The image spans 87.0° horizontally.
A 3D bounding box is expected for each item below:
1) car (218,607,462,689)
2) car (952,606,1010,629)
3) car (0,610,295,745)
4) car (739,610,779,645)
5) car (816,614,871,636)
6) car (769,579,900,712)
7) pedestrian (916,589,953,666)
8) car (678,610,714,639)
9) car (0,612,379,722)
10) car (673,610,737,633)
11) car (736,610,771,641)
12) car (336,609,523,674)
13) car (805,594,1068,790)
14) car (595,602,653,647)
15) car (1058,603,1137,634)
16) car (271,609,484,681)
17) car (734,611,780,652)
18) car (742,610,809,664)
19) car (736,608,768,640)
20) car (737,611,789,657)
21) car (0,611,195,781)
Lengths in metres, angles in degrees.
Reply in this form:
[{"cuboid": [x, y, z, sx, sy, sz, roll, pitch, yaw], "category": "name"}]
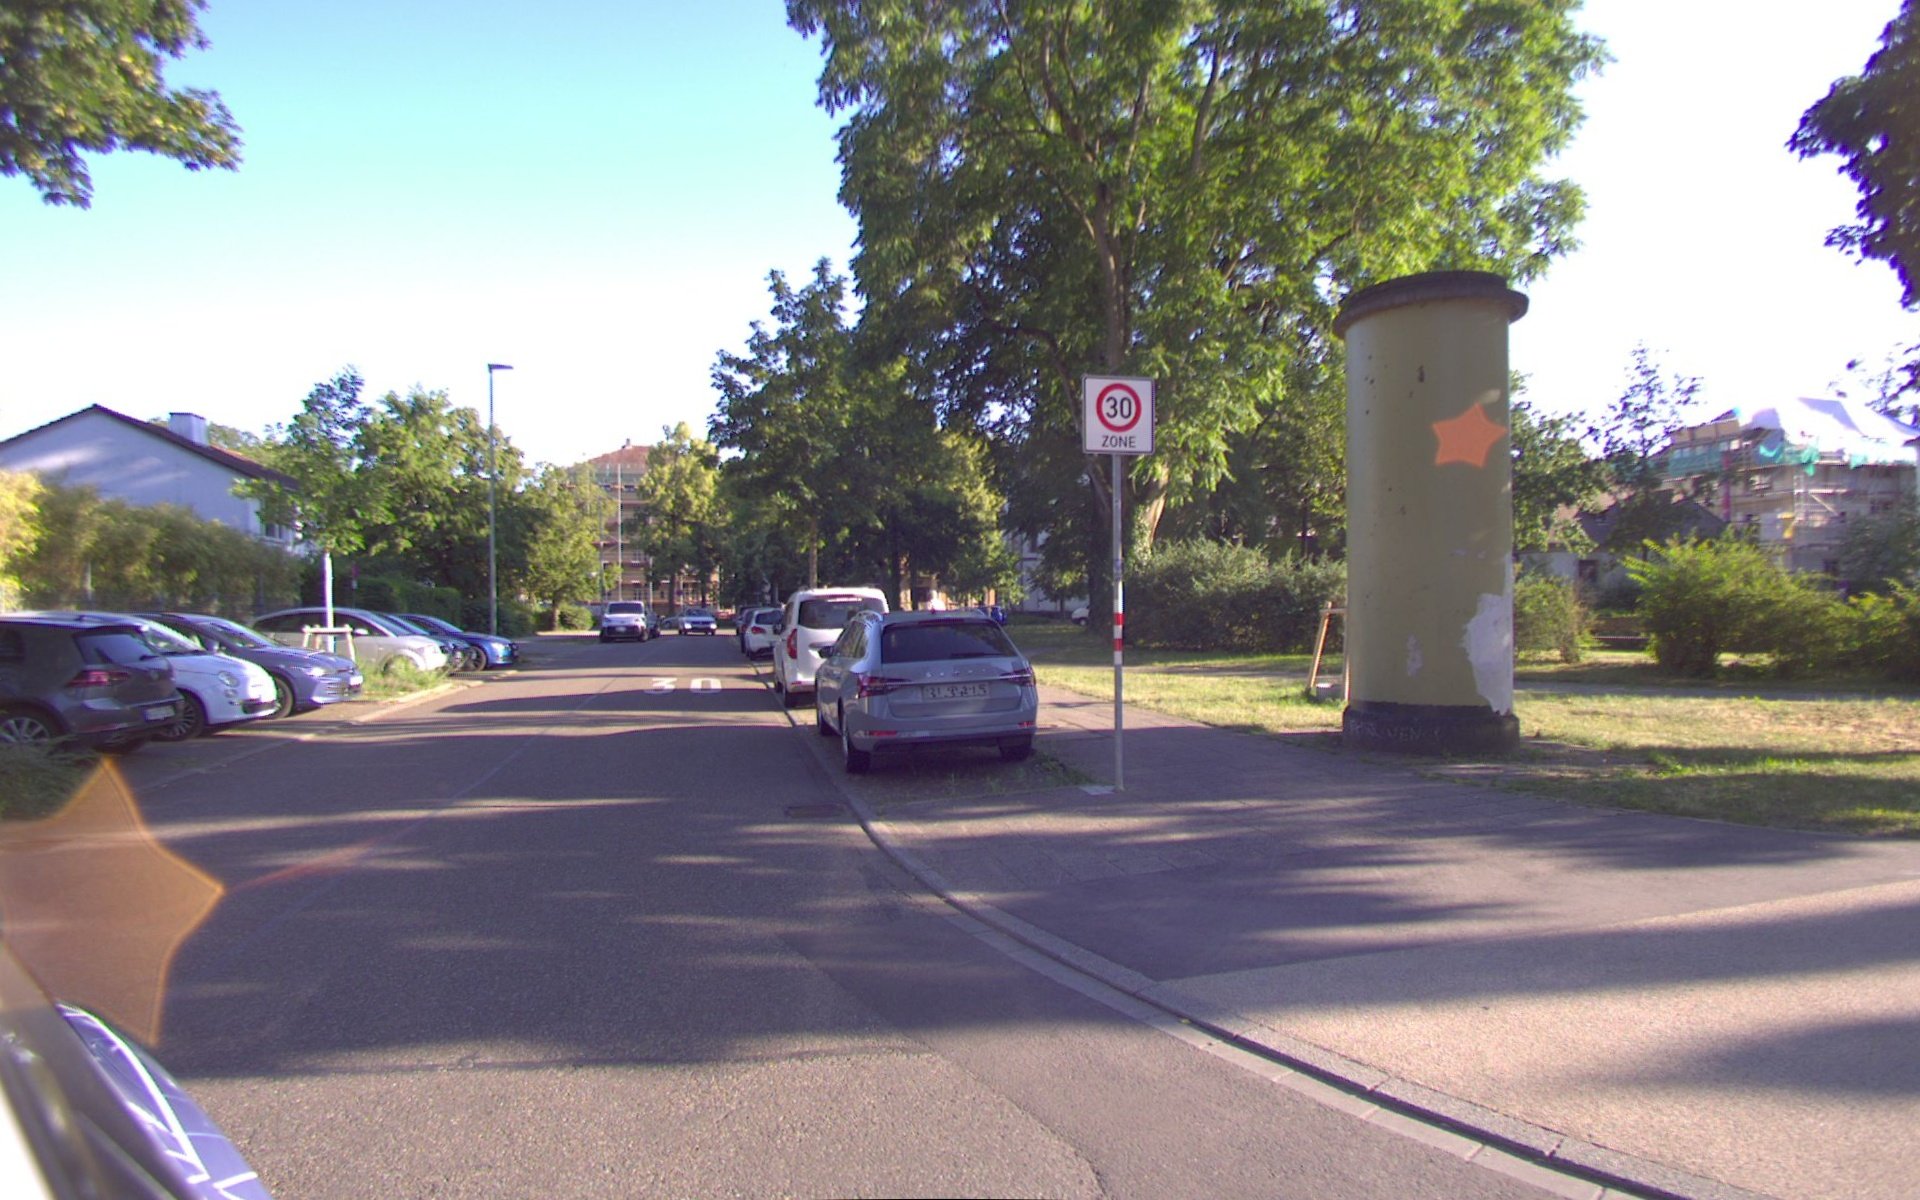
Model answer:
[{"cuboid": [-12.396, 0.948, 20.508, 3.857, 1.549, 1.750, 1, -1, -15], "category": "car"}, {"cuboid": [1.420, 1.190, 68.233, 3.550, 1.509, 1.663, -1, 0, 22], "category": "car"}, {"cuboid": [-10.284, 0.887, 12.324, 3.299, 1.502, 1.642, 1, -1, -15], "category": "car"}, {"cuboid": [-9.243, 1.228, 46.434, 1.689, 1.520, 3.688, -1, 0, -12], "category": "car"}, {"cuboid": [-8.297, 1.794, 72.202, 3.550, 1.509, 1.677, -1, 0, 22], "category": "car"}, {"cuboid": [-2.242, 0.681, 17.089, 1.733, 1.931, 4.249, -1, 0, -13], "category": "car"}, {"cuboid": [-0.589, 0.627, 23.588, 0.704, 1.750, 0.749, -1, 0, -13], "category": "pedestrian"}, {"cuboid": [-15.105, 1.369, 58.032, 1.754, 1.546, 4.356, -1, 0, -12], "category": "car"}, {"cuboid": [-10.998, 0.927, 14.725, 4.032, 1.468, 1.815, 1, -1, -11], "category": "car"}, {"cuboid": [-20.167, 1.687, 79.982, 4.484, 1.697, 2.267, -1, -3, 23], "category": "car"}, {"cuboid": [-10.760, 1.310, 52.622, 1.689, 1.520, 3.688, -1, 0, -12], "category": "car"}, {"cuboid": [-13.161, 1.023, 25.357, 3.857, 1.549, 1.750, 1, -1, -15], "category": "car"}, {"cuboid": [-0.534, 0.773, 10.830, 1.837, 1.570, 4.850, -1, 0, -13], "category": "car"}, {"cuboid": [-15.503, 1.080, 46.905, 2.027, 1.945, 4.459, -1, 0, -12], "category": "car"}, {"cuboid": [8.855, 1.181, 65.115, 4.739, 1.931, 1.784, -1, 0, 22], "category": "car"}, {"cuboid": [-13.090, 0.998, 22.989, 3.857, 1.549, 1.750, 1, -1, -15], "category": "car"}, {"cuboid": [-8.186, 1.235, 40.695, 1.689, 1.520, 3.688, -1, 0, -12], "category": "car"}, {"cuboid": [-5.632, 1.072, 30.596, 1.689, 1.520, 3.319, -1, -1, -15], "category": "car"}, {"cuboid": [-11.613, 1.290, 56.419, 1.689, 1.696, 3.688, -1, 0, -12], "category": "car"}, {"cuboid": [-7.012, 1.151, 35.728, 1.689, 1.520, 3.688, -1, 0, -12], "category": "car"}, {"cuboid": [-9.963, 0.886, 9.655, 3.933, 1.527, 1.650, 0, -1, -14], "category": "car"}]
